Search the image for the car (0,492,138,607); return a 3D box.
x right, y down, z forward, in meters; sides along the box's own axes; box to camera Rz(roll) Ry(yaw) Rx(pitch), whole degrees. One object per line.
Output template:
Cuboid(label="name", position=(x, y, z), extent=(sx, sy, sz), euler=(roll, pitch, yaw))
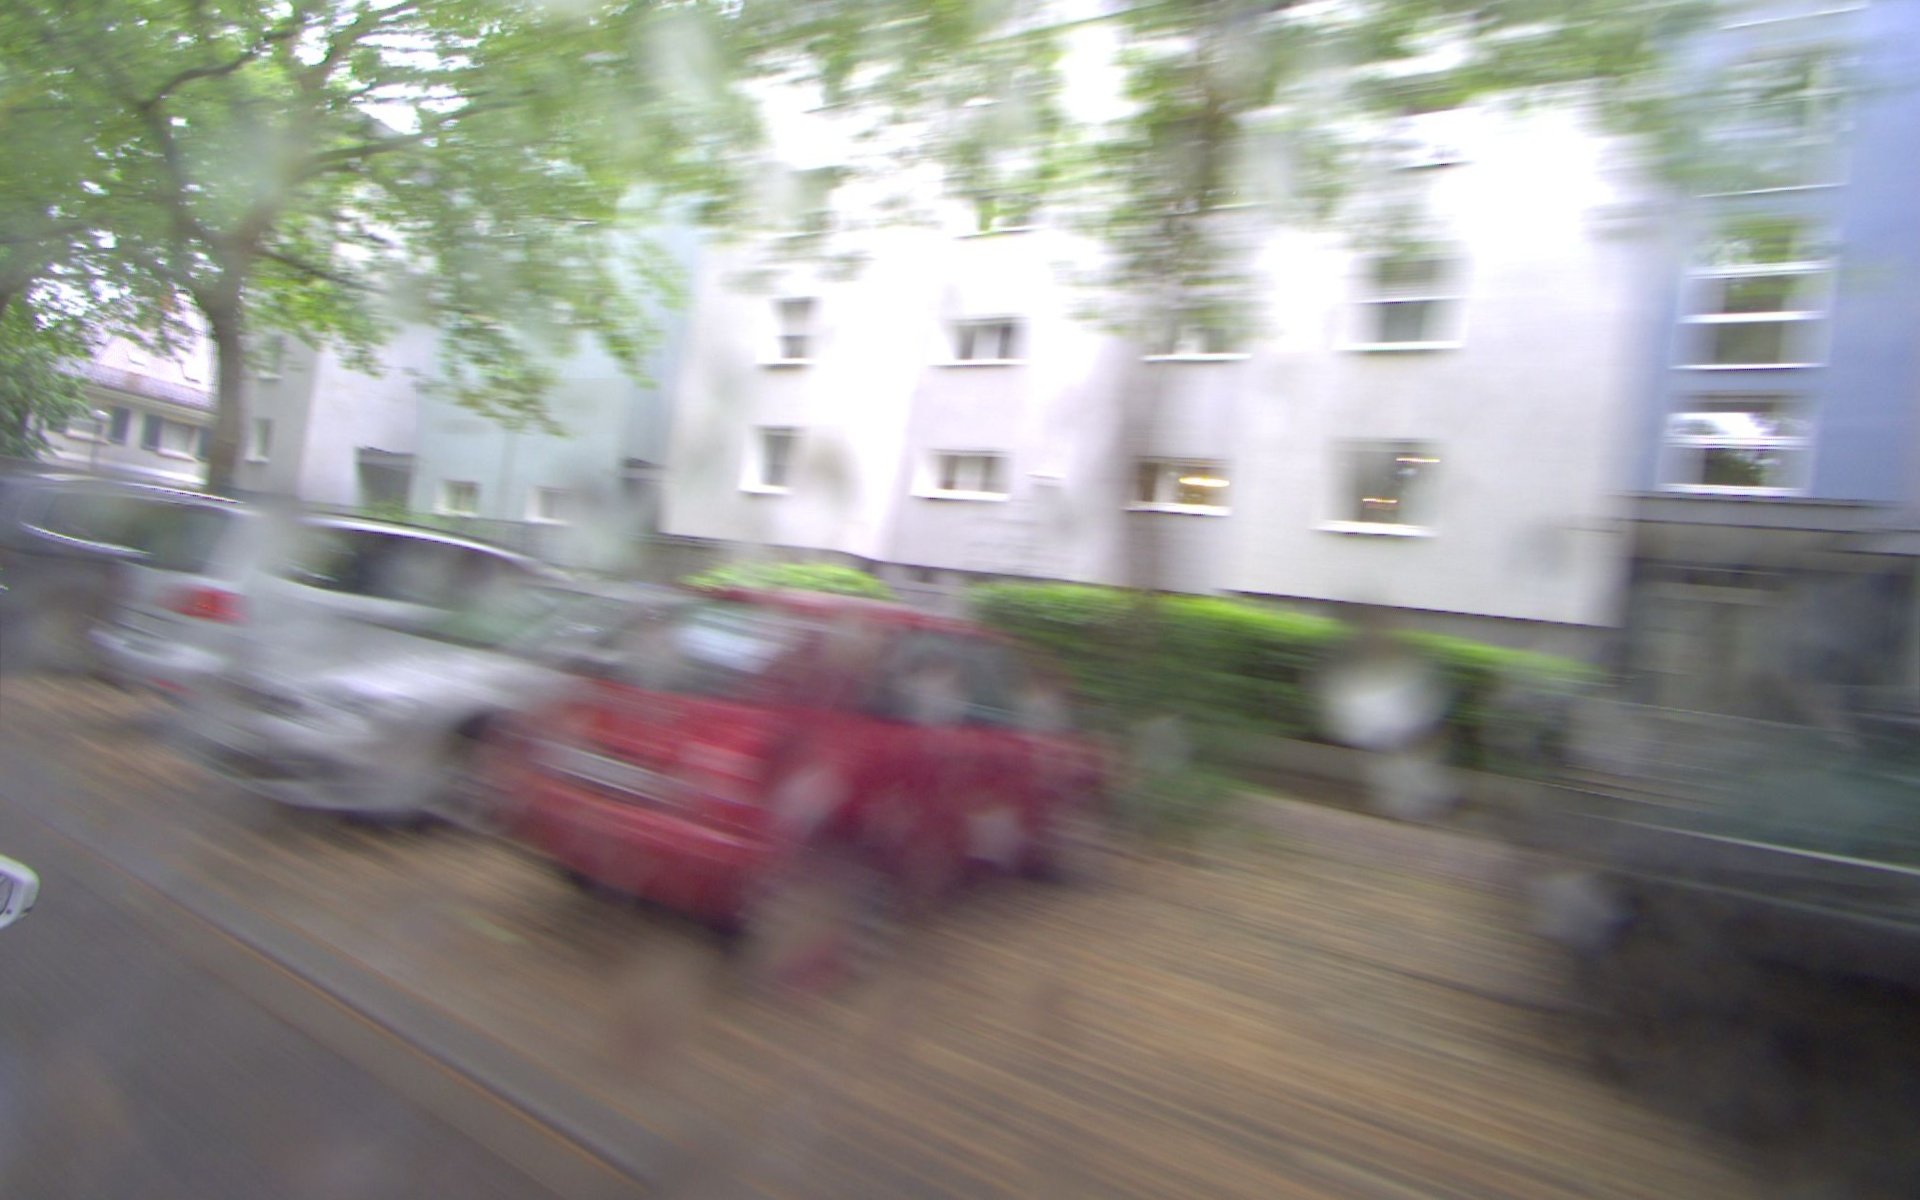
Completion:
Cuboid(label="car", position=(-15.598, -0.984, 15.394), extent=(1.717, 1.602, 4.222), euler=(8, -2, 29))

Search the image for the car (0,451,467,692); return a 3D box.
Cuboid(label="car", position=(-7.653, -0.192, 10.166), extent=(1.788, 1.781, 4.349), euler=(8, -3, 32))

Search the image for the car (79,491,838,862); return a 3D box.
Cuboid(label="car", position=(-2.785, 0.517, 6.575), extent=(1.770, 1.529, 3.999), euler=(8, -3, 30))

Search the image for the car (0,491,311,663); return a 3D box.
Cuboid(label="car", position=(-10.024, -0.307, 11.453), extent=(1.604, 1.554, 3.997), euler=(8, -3, 32))

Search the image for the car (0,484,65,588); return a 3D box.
Cuboid(label="car", position=(-17.819, -1.369, 16.481), extent=(1.881, 1.674, 4.220), euler=(8, -2, 31))

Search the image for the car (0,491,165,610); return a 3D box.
Cuboid(label="car", position=(-13.525, -0.799, 13.526), extent=(1.656, 1.459, 4.042), euler=(8, 0, 29))

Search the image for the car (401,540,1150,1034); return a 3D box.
Cuboid(label="car", position=(-0.609, 0.749, 5.395), extent=(1.710, 1.555, 3.706), euler=(7, 0, 34))

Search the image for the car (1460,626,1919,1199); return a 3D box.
Cuboid(label="car", position=(3.289, 1.098, 2.843), extent=(1.803, 1.718, 3.868), euler=(9, 0, 4))

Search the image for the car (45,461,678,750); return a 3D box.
Cuboid(label="car", position=(-4.596, 0.209, 8.372), extent=(1.771, 1.746, 3.997), euler=(8, -3, 32))
